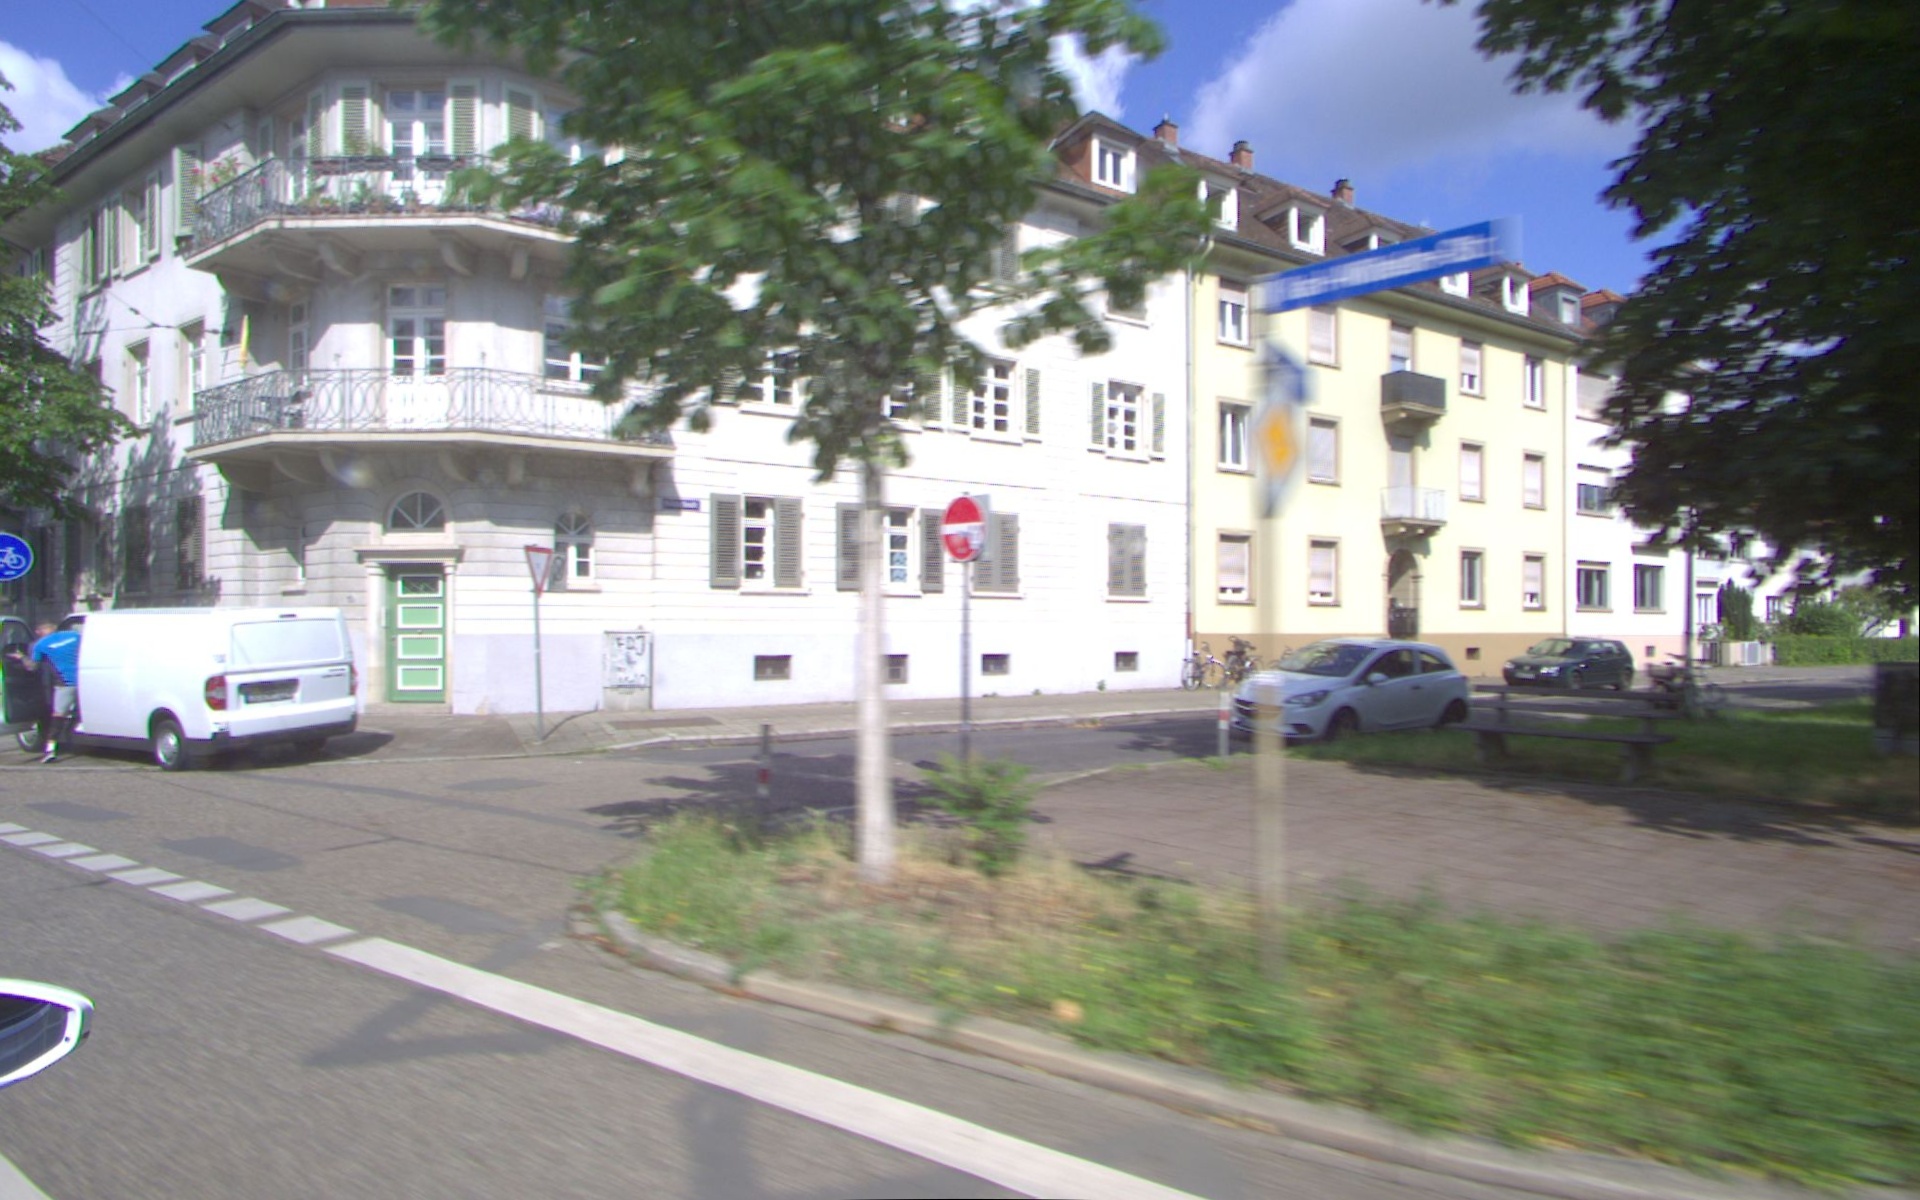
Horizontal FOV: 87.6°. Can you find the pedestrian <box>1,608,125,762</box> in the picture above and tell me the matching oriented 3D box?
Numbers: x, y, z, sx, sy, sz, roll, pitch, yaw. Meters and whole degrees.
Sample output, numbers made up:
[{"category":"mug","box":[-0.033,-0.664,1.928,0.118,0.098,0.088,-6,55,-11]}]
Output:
[{"category":"pedestrian","box":[-11.341,1.042,12.673,0.946,1.859,0.816,0,-1,23]}]

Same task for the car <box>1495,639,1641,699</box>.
[{"category":"car","box":[16.362,1.808,26.934,3.813,1.373,1.688,1,2,-30]}]

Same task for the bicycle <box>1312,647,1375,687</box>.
[{"category":"bicycle","box":[10.392,1.794,27.107,2.107,1.047,0.533,1,-1,-37]}]

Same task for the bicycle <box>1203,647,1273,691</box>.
[{"category":"bicycle","box":[6.966,1.706,25.040,2.107,1.047,0.533,1,-1,-37]}]

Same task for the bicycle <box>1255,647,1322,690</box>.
[{"category":"bicycle","box":[8.518,1.757,25.941,2.107,1.047,0.533,1,-1,-37]}]

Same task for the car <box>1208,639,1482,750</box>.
[{"category":"car","box":[5.708,1.304,14.747,3.943,1.428,1.644,1,-3,-30]}]

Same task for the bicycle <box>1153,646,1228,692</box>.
[{"category":"bicycle","box":[5.548,1.629,24.033,2.107,1.047,0.533,1,-1,-37]}]

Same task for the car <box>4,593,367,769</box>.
[{"category":"car","box":[-10.179,0.944,13.087,4.911,1.963,1.787,0,-1,26]}]
